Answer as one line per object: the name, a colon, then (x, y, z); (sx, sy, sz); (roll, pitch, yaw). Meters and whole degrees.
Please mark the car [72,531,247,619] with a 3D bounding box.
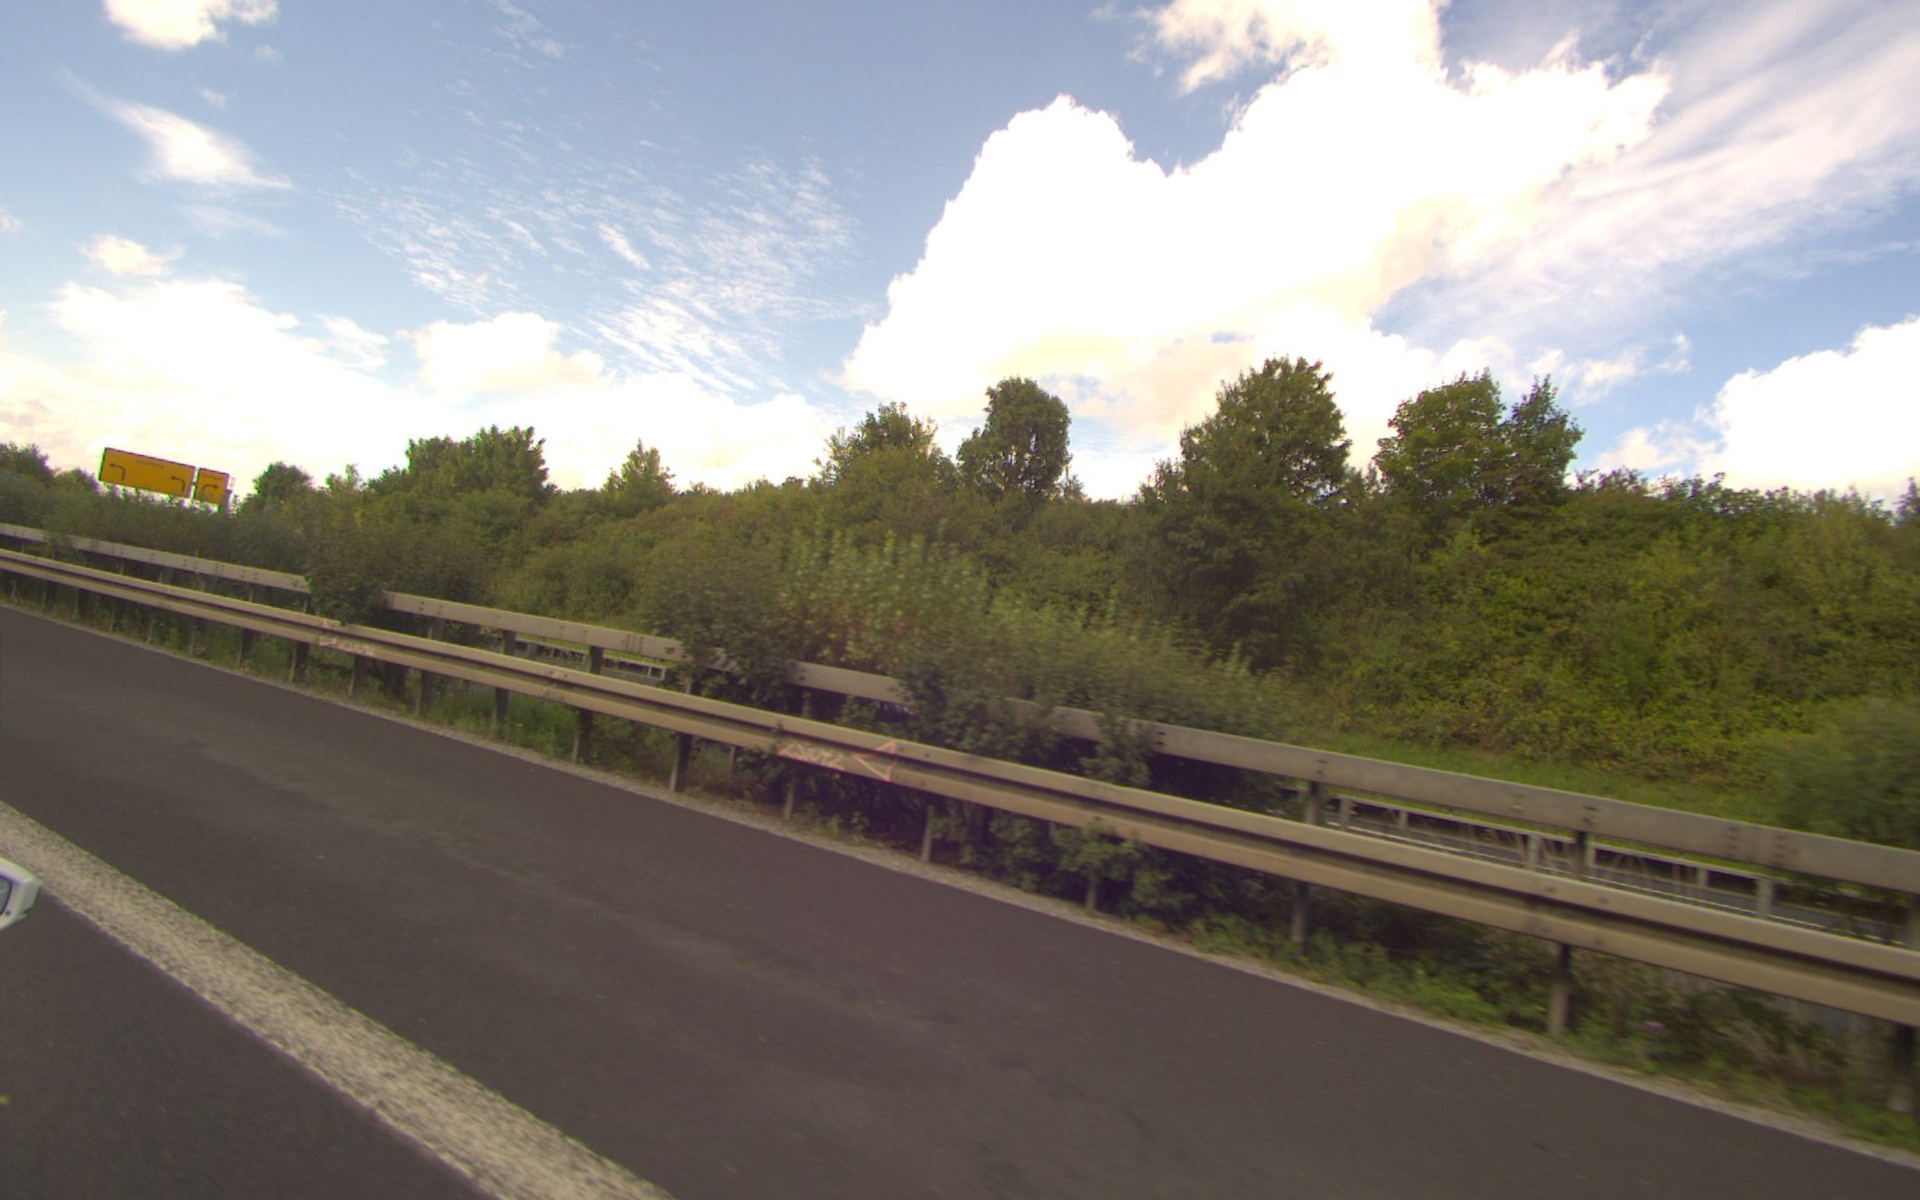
car: (-20.202, -0.641, 25.372); (4.269, 1.589, 1.789); (7, -2, 28)
